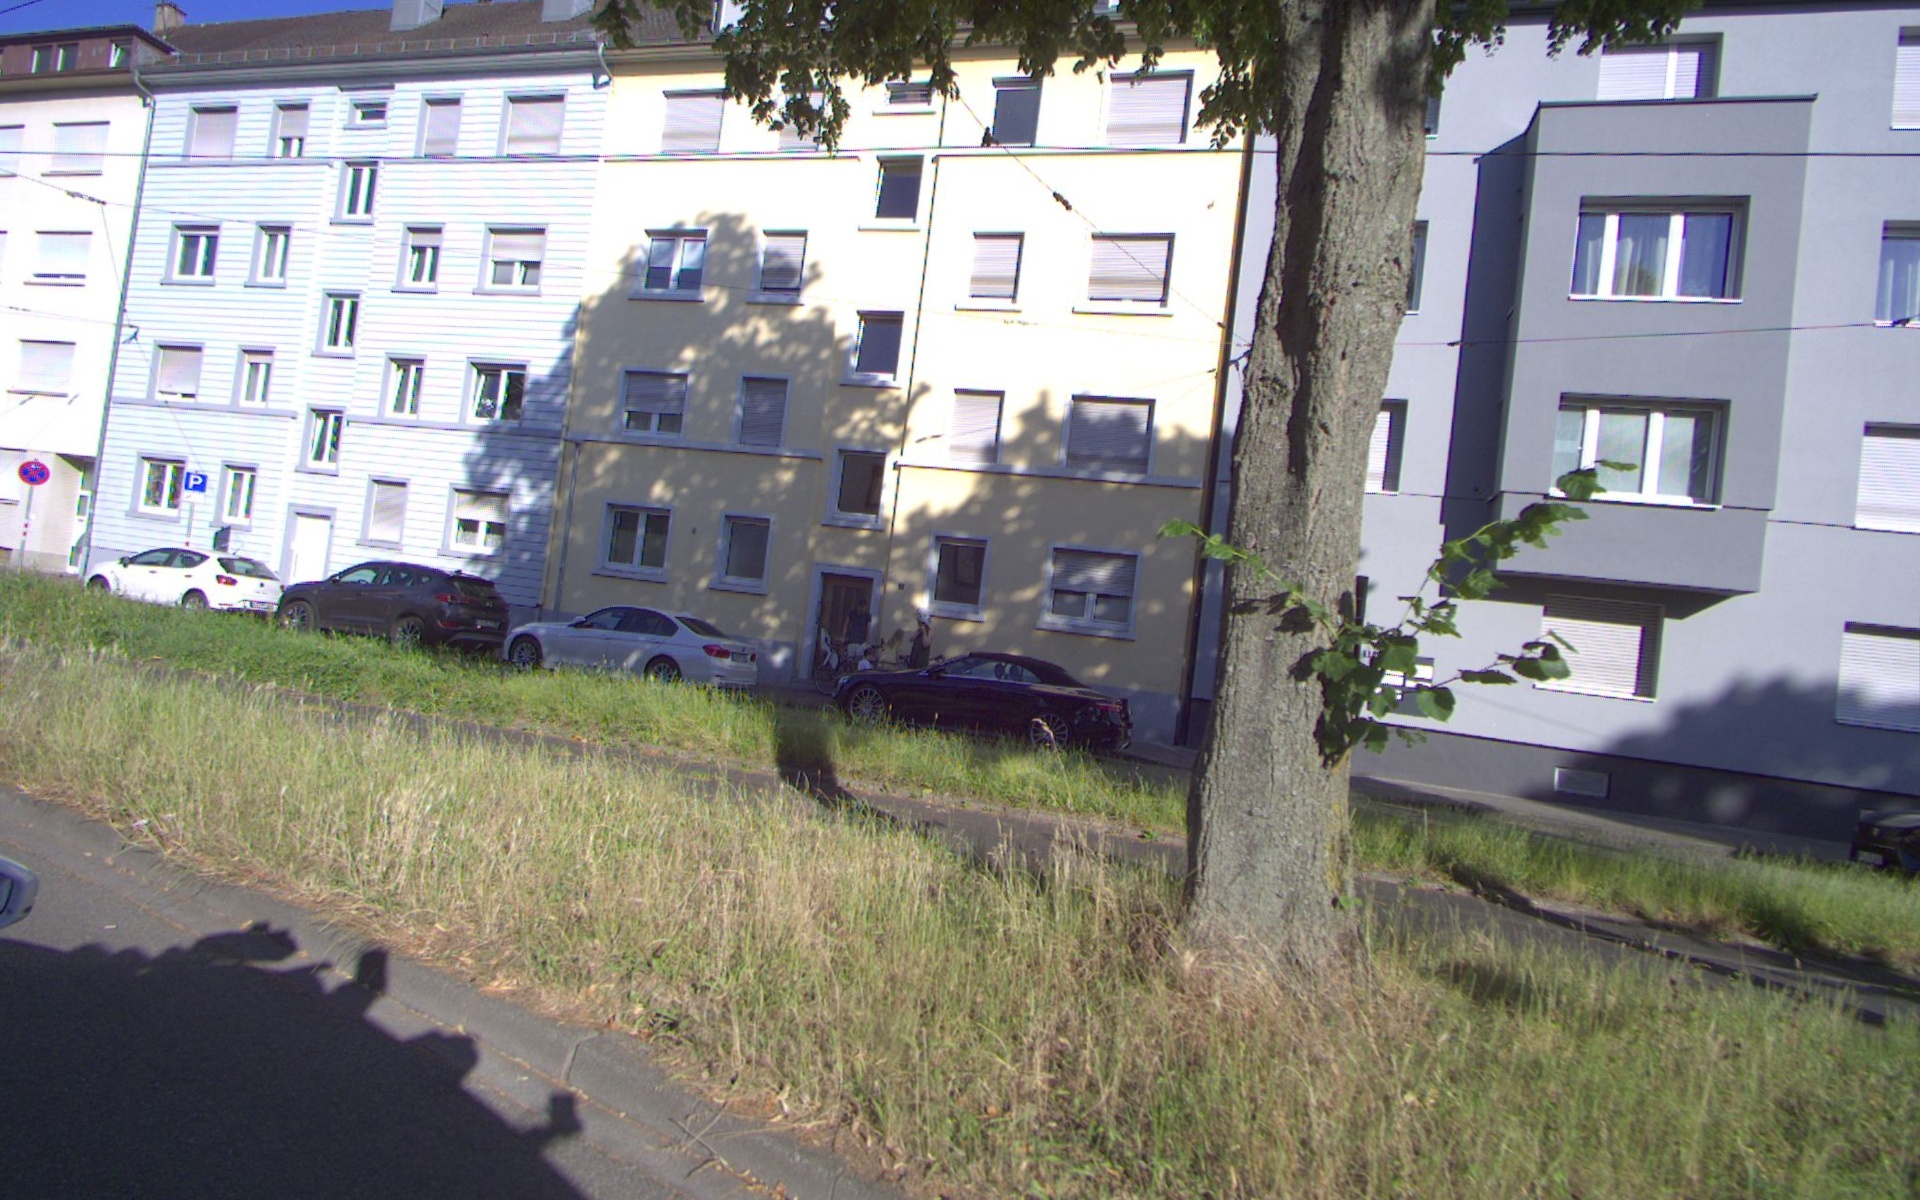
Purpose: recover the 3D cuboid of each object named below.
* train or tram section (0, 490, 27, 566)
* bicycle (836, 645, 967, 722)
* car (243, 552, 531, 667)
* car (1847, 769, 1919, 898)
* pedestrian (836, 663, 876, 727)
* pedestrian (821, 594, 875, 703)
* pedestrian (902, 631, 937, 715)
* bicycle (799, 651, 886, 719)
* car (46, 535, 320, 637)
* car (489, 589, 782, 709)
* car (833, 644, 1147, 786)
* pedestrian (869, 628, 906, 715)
[{"bbox_3d":[-47.364,-3.863,44.694,2.735,3.594,9.924,7,-3,-5],"label":"train or tram section"},{"bbox_3d":[-1.078,1.523,18.518,2.264,1.144,0.537,6,-2,15],"label":"bicycle"},{"bbox_3d":[-10.874,0.205,19.181,4.553,1.590,2.003,6,-2,15],"label":"car"},{"bbox_3d":[13.638,3.120,11.763,4.362,1.402,2.003,7,-2,15],"label":"car"},{"bbox_3d":[-1.845,1.682,17.864,0.452,1.077,0.433,6,-2,16],"label":"pedestrian"},{"bbox_3d":[-2.189,0.956,19.744,0.637,2.036,0.614,6,-2,16],"label":"pedestrian"},{"bbox_3d":[-0.764,1.380,19.134,0.435,1.532,0.305,7,-1,8],"label":"pedestrian"},{"bbox_3d":[-2.290,1.646,19.662,1.487,1.144,0.537,6,-2,15],"label":"bicycle"},{"bbox_3d":[-15.878,-0.270,20.643,4.361,1.402,2.003,7,-2,12],"label":"car"},{"bbox_3d":[-5.621,0.855,17.601,4.362,1.402,2.003,7,-2,15],"label":"car"},{"bbox_3d":[0.531,1.696,15.488,4.362,1.402,2.003,7,-2,15],"label":"car"},{"bbox_3d":[-1.327,1.307,18.507,0.435,1.532,0.333,7,-1,12],"label":"pedestrian"}]
